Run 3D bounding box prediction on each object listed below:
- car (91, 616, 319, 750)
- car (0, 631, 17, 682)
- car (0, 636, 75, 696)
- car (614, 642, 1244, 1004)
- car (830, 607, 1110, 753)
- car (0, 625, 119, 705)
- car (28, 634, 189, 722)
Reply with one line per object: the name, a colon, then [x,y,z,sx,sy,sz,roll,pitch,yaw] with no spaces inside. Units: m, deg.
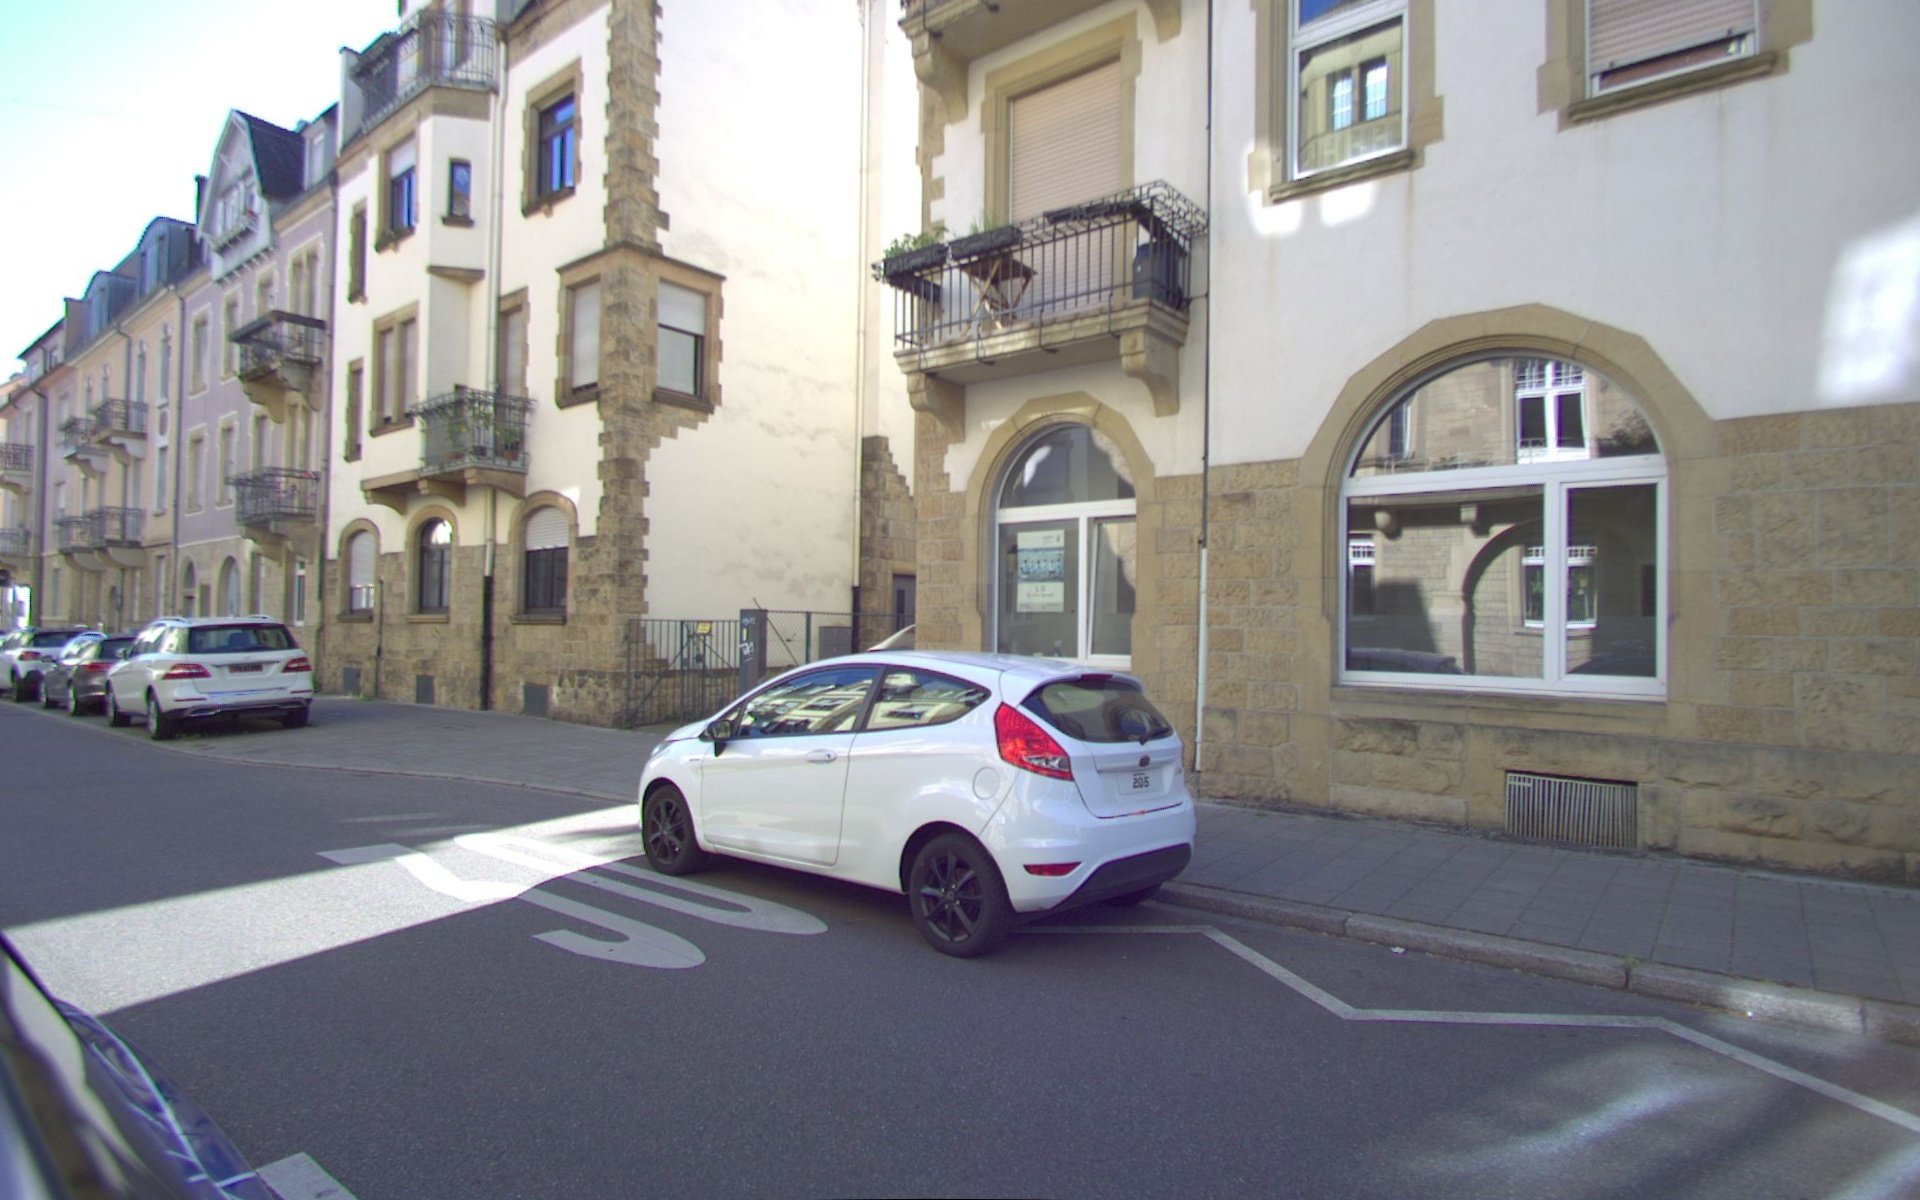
car: [-11.964,1.194,15.906,4.723,1.735,1.872,-2,0,41]
car: [-31.065,1.771,31.660,3.718,1.550,1.698,-2,-2,38]
car: [-24.808,1.695,26.451,3.657,1.404,1.658,-2,0,35]
car: [-0.383,1.012,6.118,3.733,1.475,1.616,-1,-3,42]
car: [0.268,1.055,14.225,1.908,1.741,3.928,-2,-3,39]
car: [-20.740,1.414,22.943,4.014,1.595,1.699,-2,0,38]
car: [-16.436,1.413,19.465,4.274,1.498,1.558,-2,-1,38]
